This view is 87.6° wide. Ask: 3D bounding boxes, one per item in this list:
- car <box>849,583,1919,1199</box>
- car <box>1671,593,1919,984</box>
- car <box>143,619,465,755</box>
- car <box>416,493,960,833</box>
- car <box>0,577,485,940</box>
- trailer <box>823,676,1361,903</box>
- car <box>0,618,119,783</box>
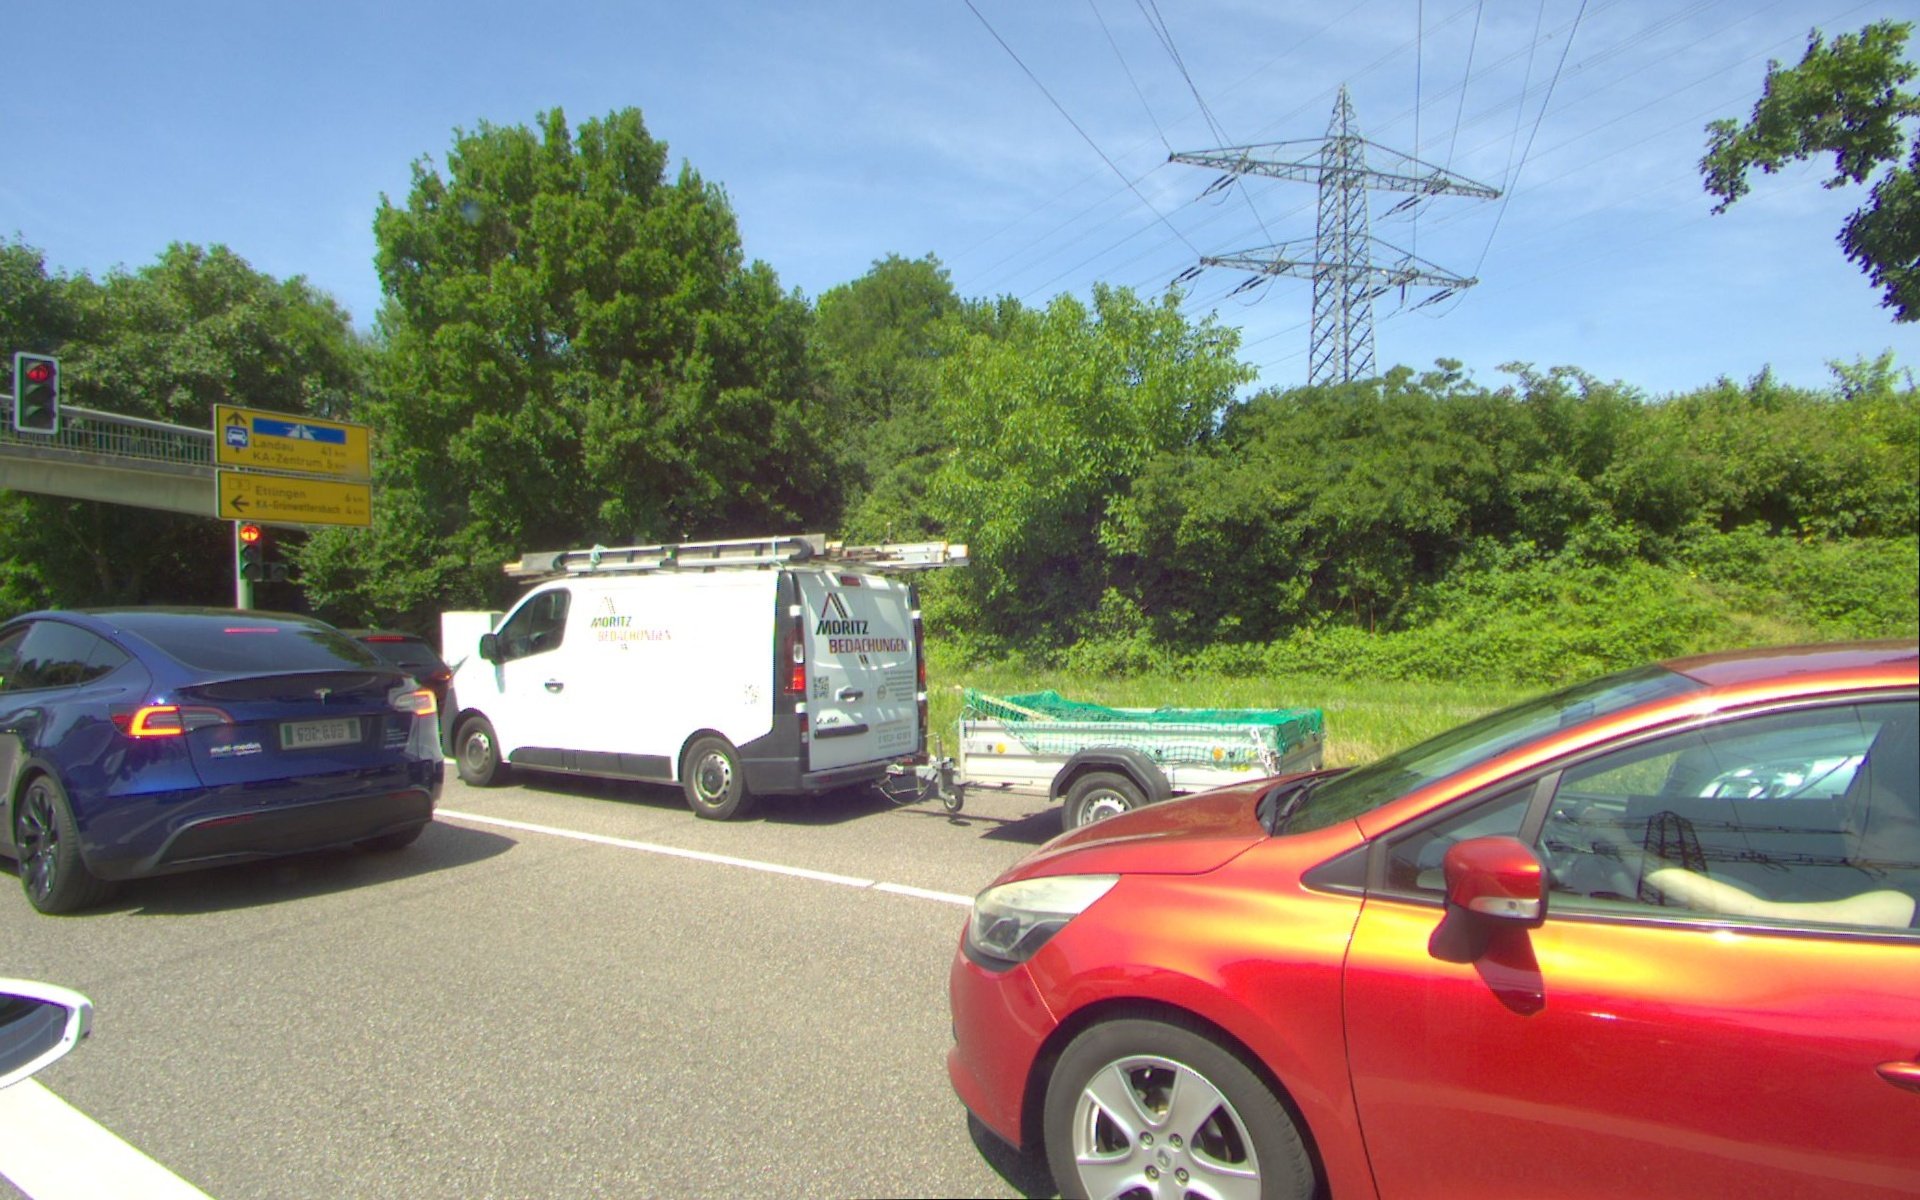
[{"bbox_3d":[1.866,0.739,2.228,4.006,1.480,1.740,-1,-2,32],"label":"car"},{"bbox_3d":[5.552,0.772,4.172,4.105,1.616,1.761,-1,0,32],"label":"car"},{"bbox_3d":[-8.587,1.012,13.021,4.318,1.497,1.897,-1,-2,32],"label":"car"},{"bbox_3d":[-2.620,0.499,9.157,5.002,2.379,1.929,-1,-1,32],"label":"car"},{"bbox_3d":[-5.329,0.776,6.601,4.455,1.665,1.897,-1,-1,32],"label":"car"},{"bbox_3d":[0.871,1.119,6.874,3.276,1.019,1.703,-1,-1,32],"label":"trailer"},{"bbox_3d":[-10.386,0.932,10.045,3.882,1.497,1.897,-1,-2,32],"label":"car"}]
